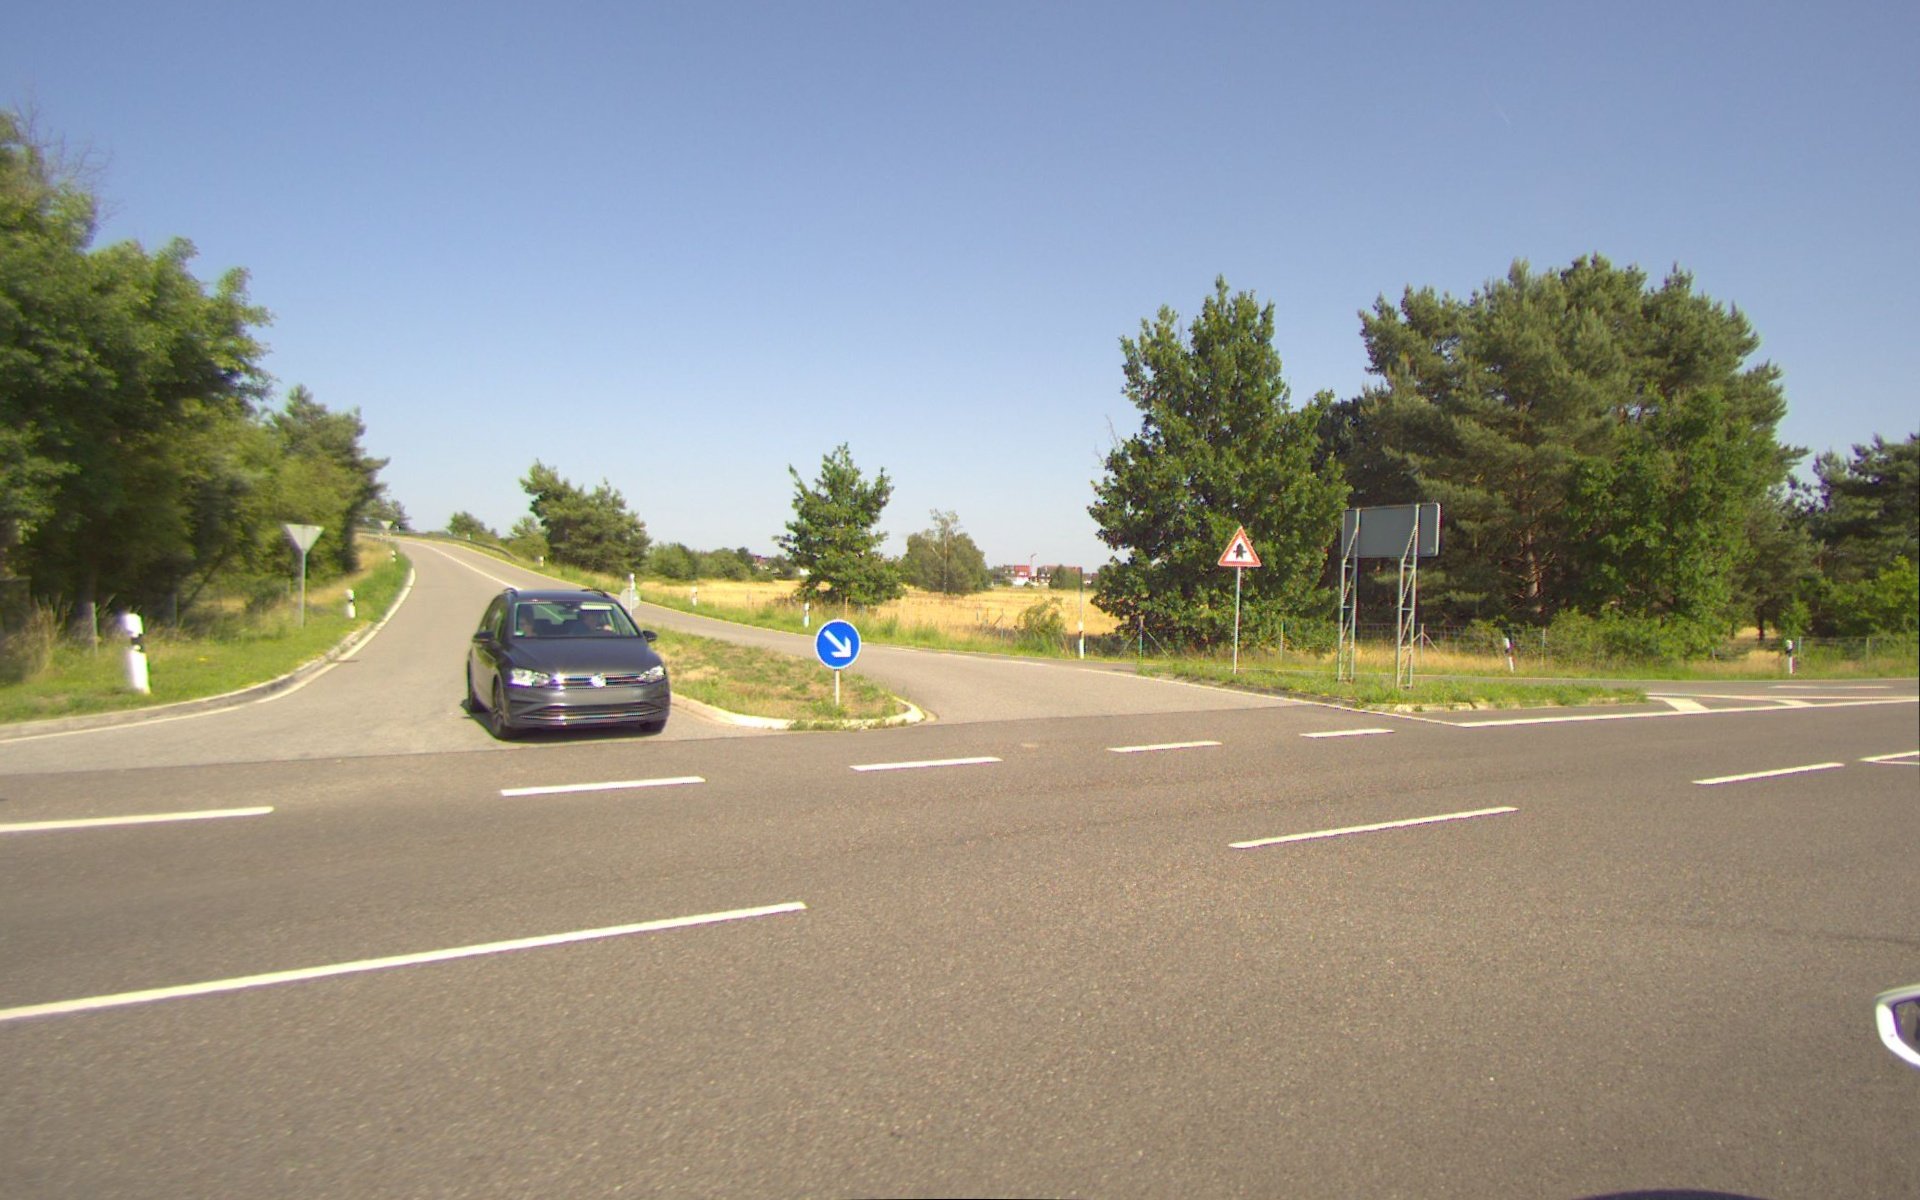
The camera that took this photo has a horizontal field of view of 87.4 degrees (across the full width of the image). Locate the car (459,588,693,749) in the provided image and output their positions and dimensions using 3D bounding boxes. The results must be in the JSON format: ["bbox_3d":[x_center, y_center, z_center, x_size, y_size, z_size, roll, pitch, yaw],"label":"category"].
[{"bbox_3d":[-4.708,0.687,11.946,1.850,1.562,4.040,1,-1,-32],"label":"car"}]
